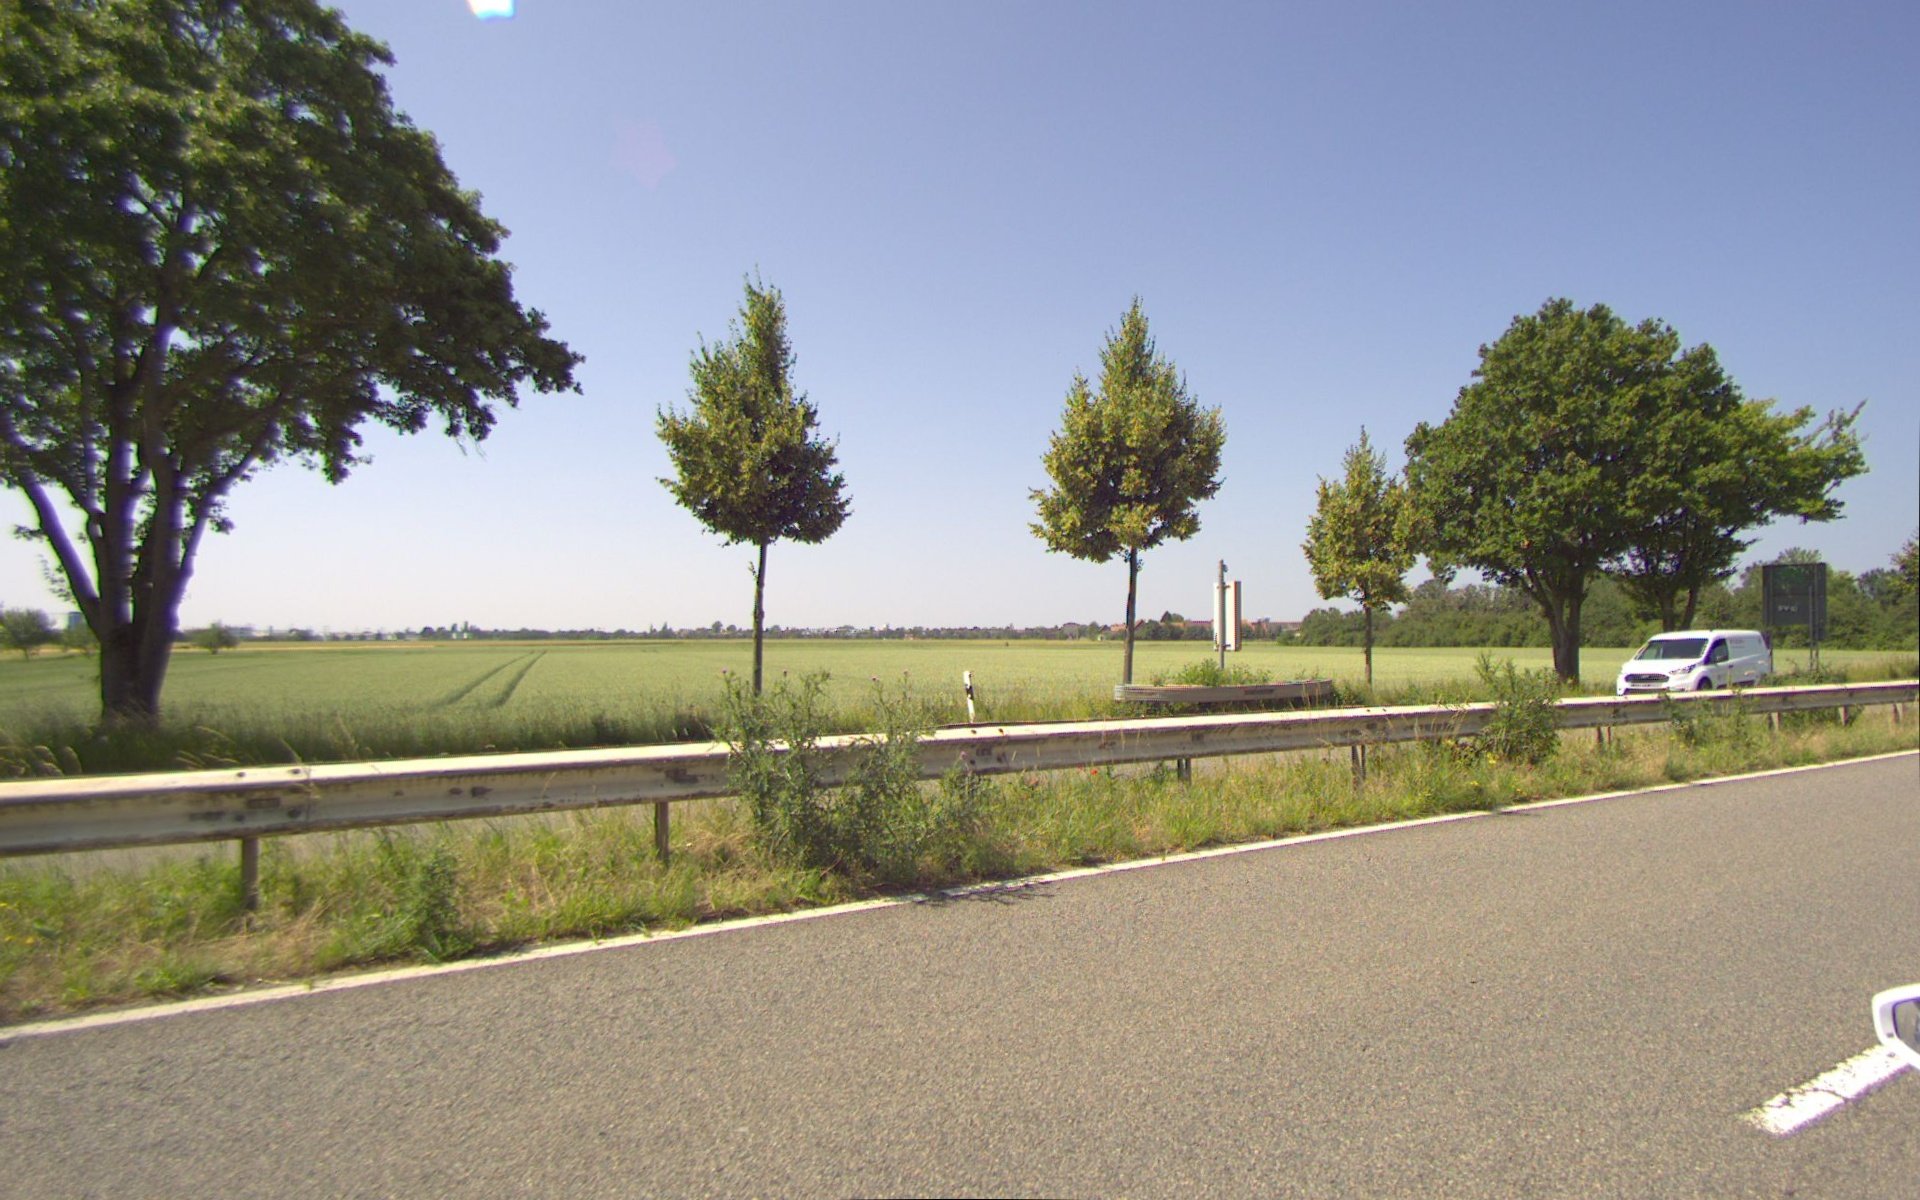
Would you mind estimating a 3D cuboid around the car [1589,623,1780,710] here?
[{"bbox_3d":[18.070,1.590,25.021,4.867,1.986,1.985,1,-2,-29],"label":"car"}]
